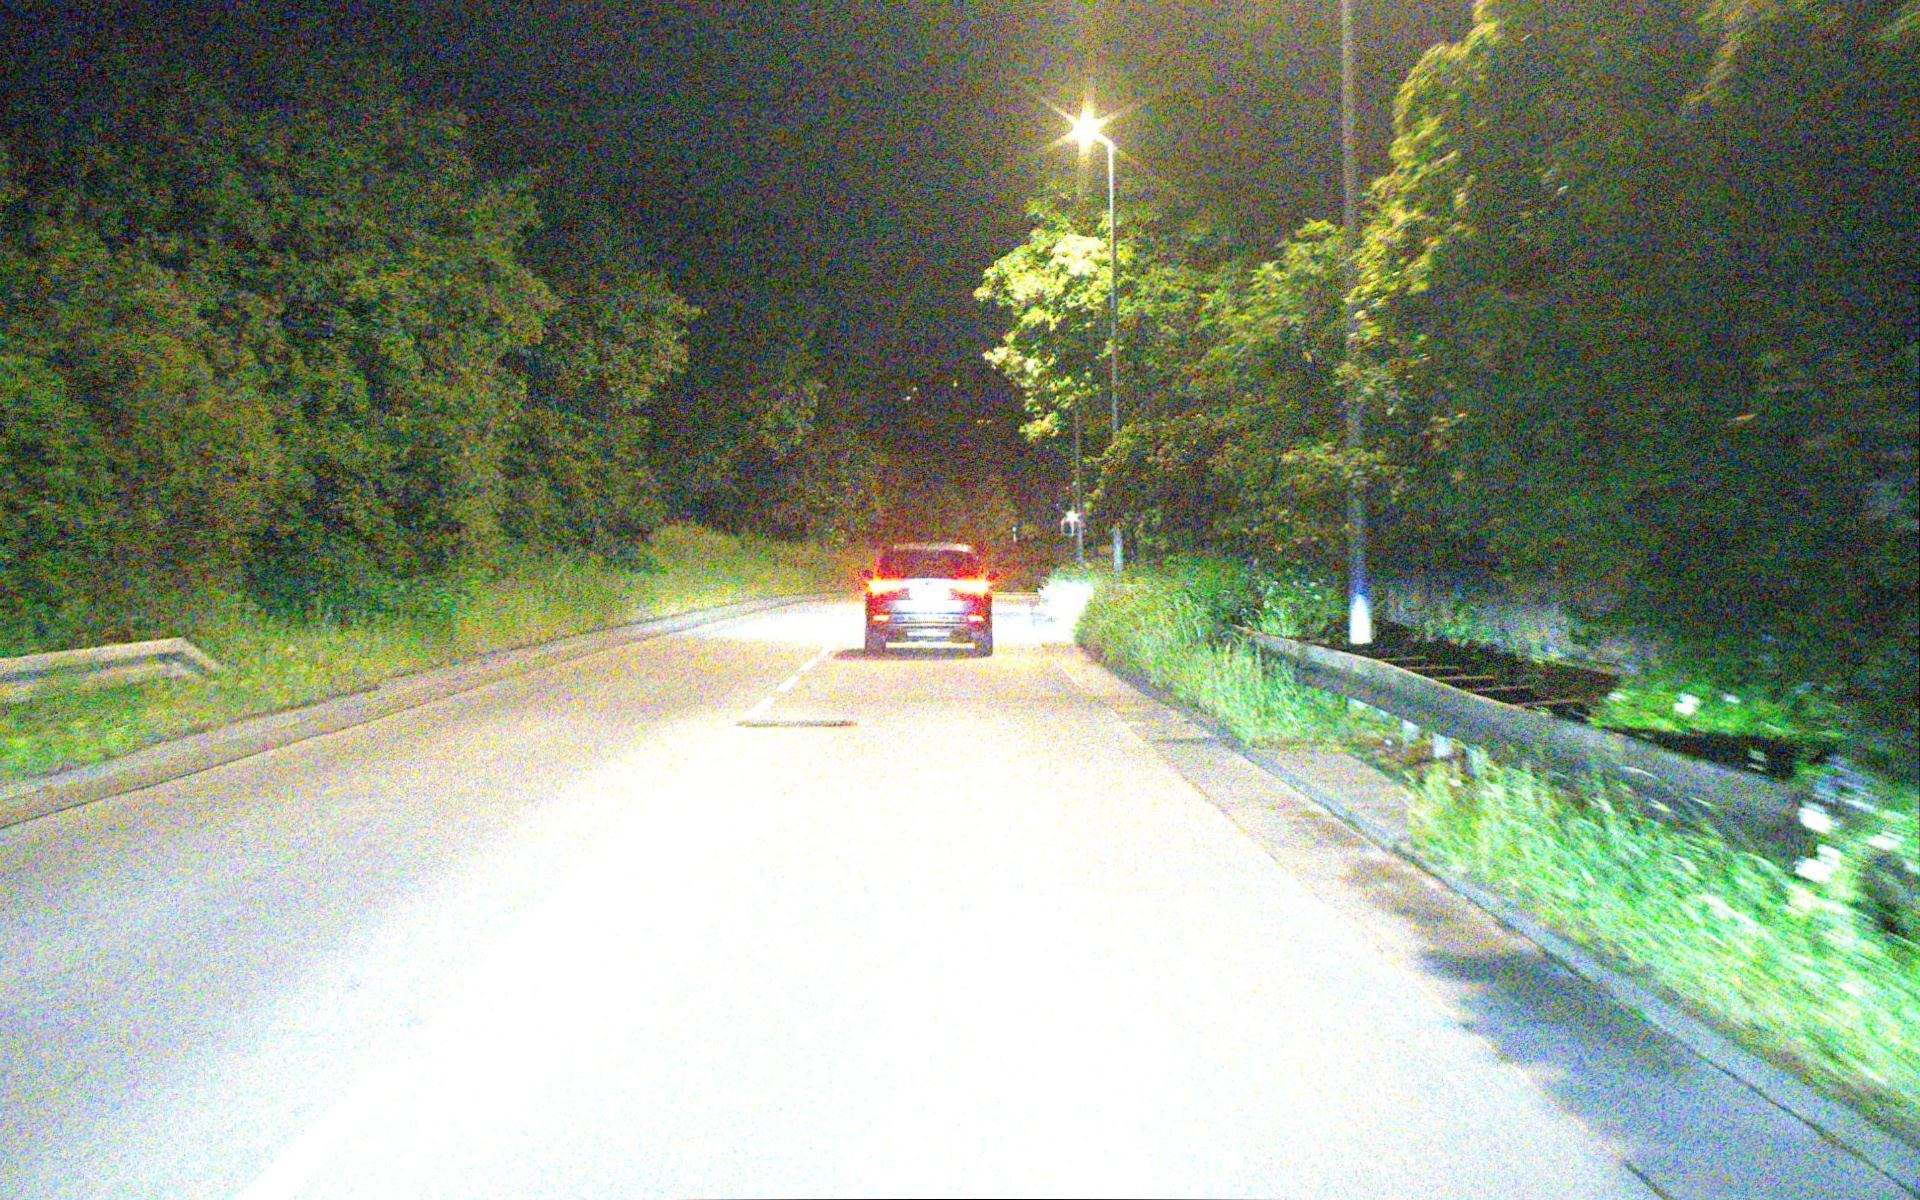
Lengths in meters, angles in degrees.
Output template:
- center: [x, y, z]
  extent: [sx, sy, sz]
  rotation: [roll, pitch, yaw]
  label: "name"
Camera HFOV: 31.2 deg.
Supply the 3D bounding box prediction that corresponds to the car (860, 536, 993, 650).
- center: [-0.521, -0.129, 49.328]
  extent: [1.814, 1.568, 3.944]
  rotation: [0, 1, -2]
  label: "car"
